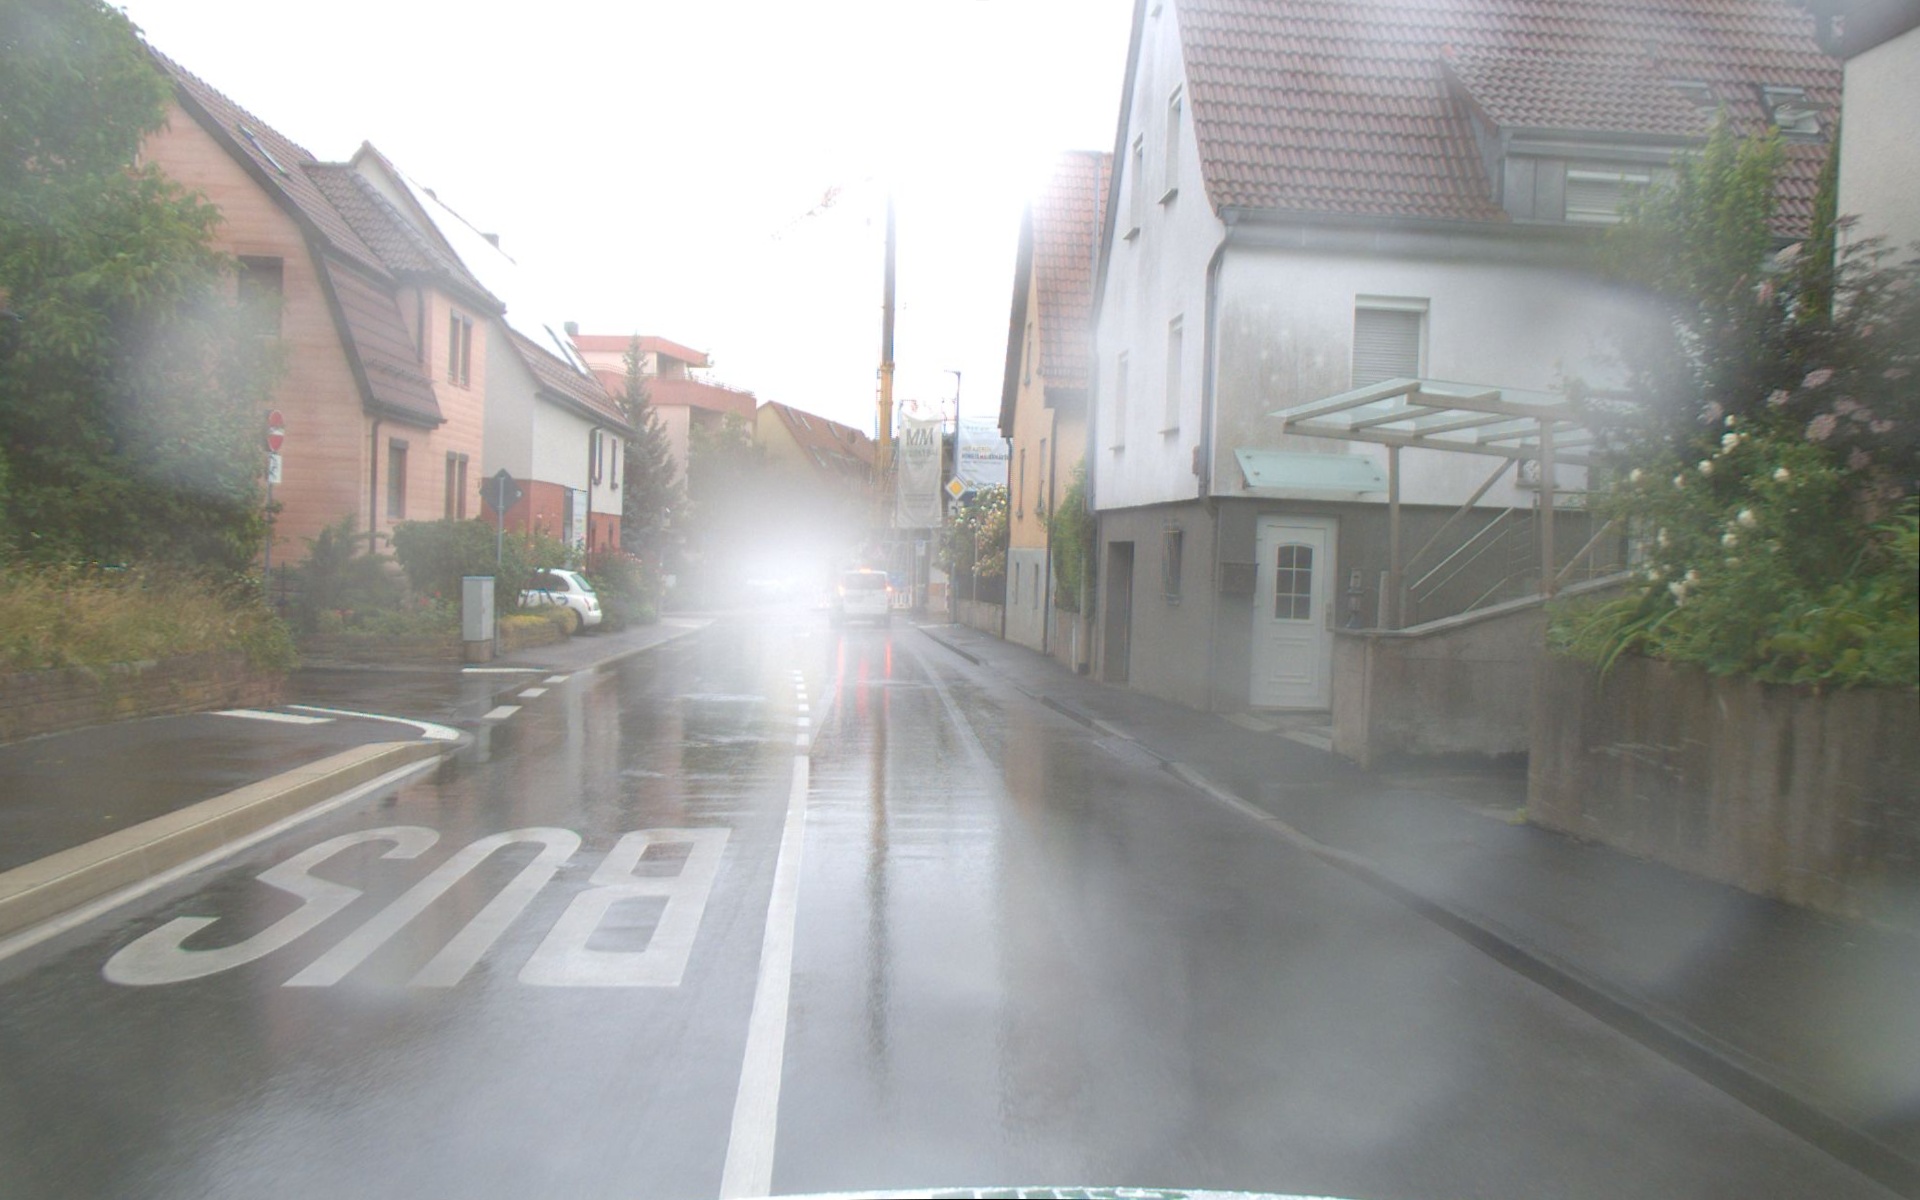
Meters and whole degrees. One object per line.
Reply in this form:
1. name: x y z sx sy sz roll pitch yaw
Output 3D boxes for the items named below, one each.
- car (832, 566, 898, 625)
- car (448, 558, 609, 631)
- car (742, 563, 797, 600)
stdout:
1. car: -3.263 -0.138 56.080 2.139 1.902 3.996 1 0 -5
2. car: -10.556 -0.138 40.642 3.475 1.555 1.662 3 0 -4
3. car: -9.391 -0.921 81.837 1.566 1.707 3.942 2 2 11
